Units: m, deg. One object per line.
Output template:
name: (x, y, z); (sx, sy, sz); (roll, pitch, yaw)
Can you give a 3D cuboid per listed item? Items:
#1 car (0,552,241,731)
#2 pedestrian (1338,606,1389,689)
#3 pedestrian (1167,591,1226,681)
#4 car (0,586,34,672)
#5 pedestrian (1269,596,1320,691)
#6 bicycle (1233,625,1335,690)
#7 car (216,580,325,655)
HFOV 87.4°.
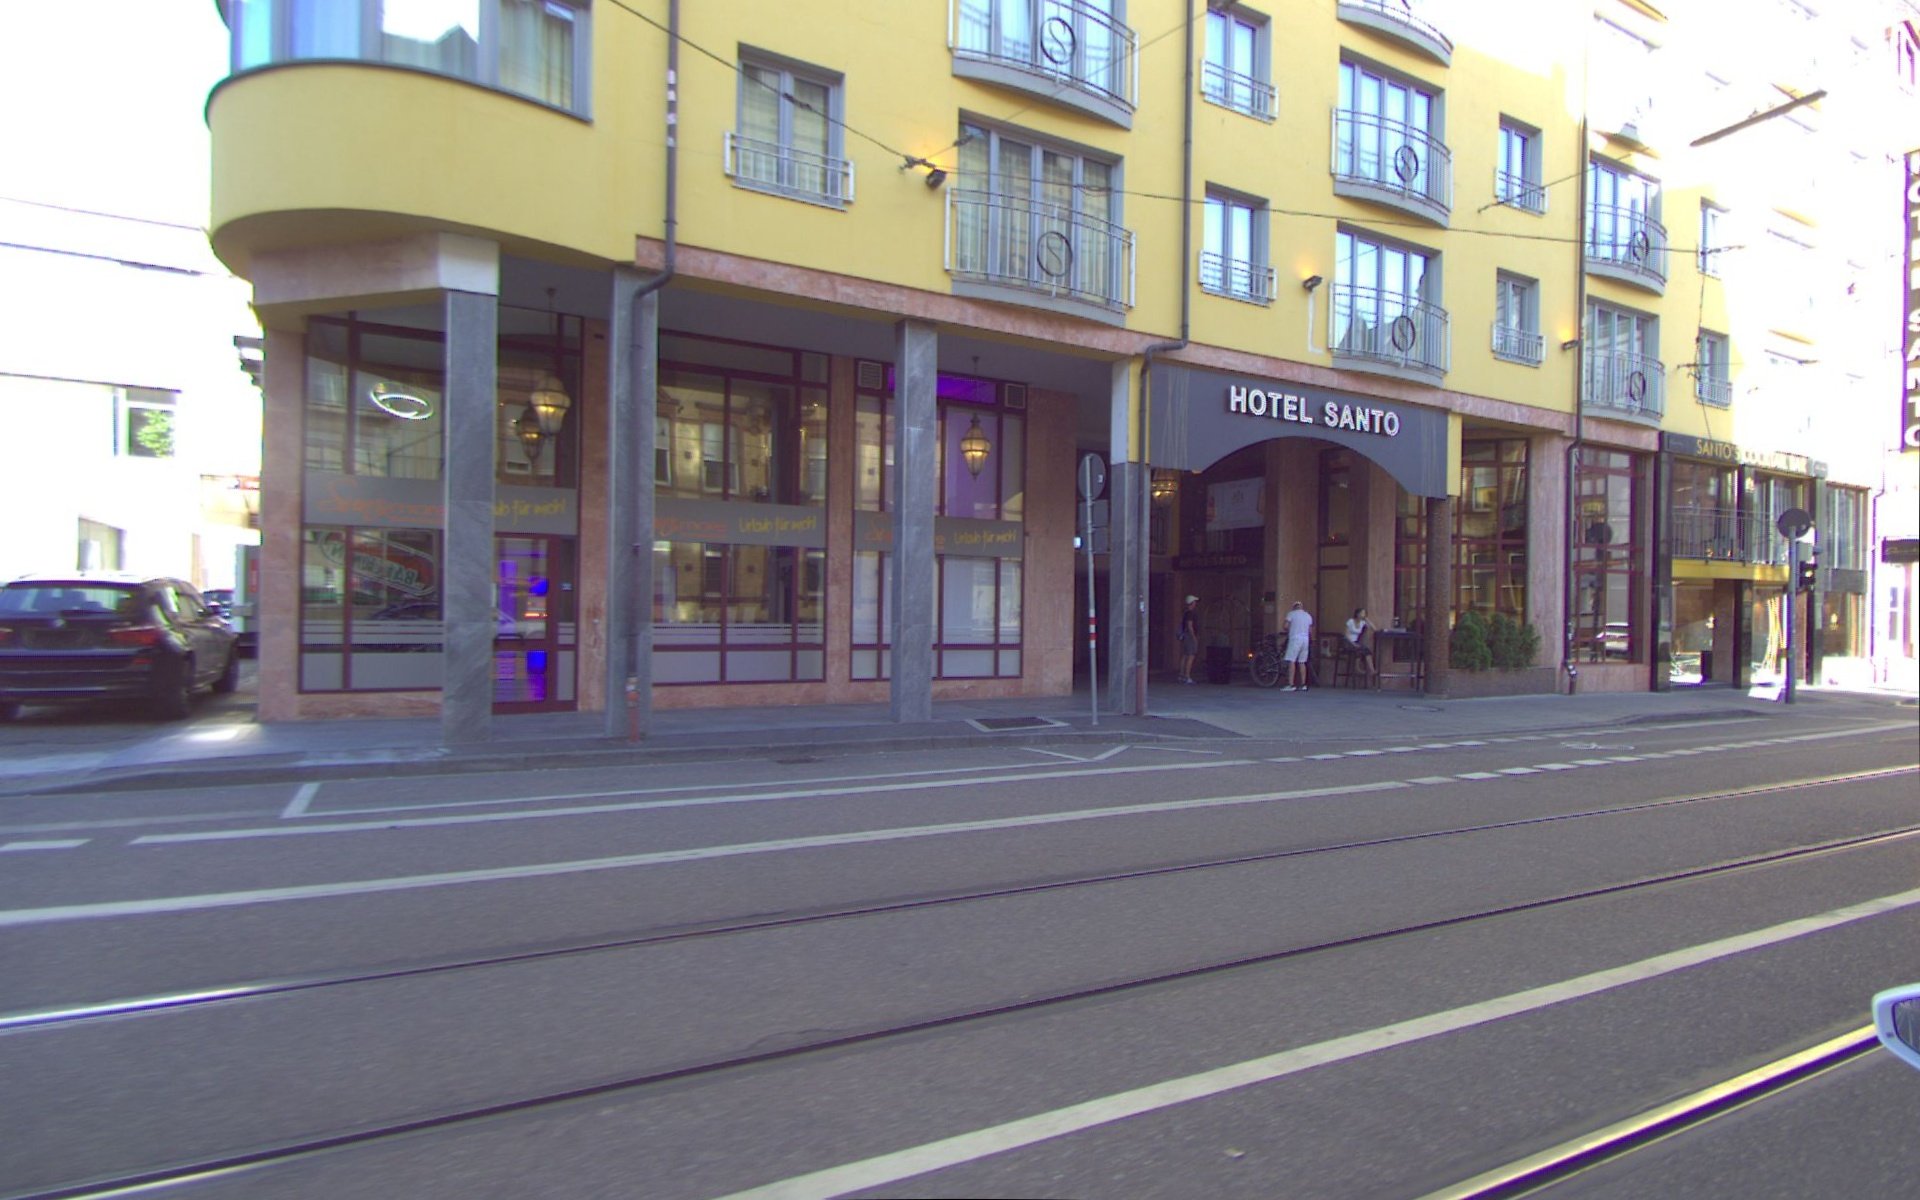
car: (-10.297, 0.441, 12.389); (1.763, 1.836, 4.216); (1, -1, -28)
pedestrian: (7.876, 0.914, 19.624); (0.593, 1.568, 0.703); (1, 0, -24)
pedestrian: (4.863, 0.736, 20.691); (0.943, 1.793, 0.705); (1, 0, -25)
car: (-18.690, 0.442, 17.099); (3.955, 1.473, 1.770); (2, -1, -31)
pedestrian: (6.408, 0.828, 19.249); (0.713, 1.793, 0.559); (2, 0, -25)
bicycle: (6.438, 1.137, 19.914); (2.052, 1.219, 0.580); (2, 0, -25)
car: (-14.965, 0.372, 21.946); (1.676, 1.499, 3.560); (1, -1, -30)
